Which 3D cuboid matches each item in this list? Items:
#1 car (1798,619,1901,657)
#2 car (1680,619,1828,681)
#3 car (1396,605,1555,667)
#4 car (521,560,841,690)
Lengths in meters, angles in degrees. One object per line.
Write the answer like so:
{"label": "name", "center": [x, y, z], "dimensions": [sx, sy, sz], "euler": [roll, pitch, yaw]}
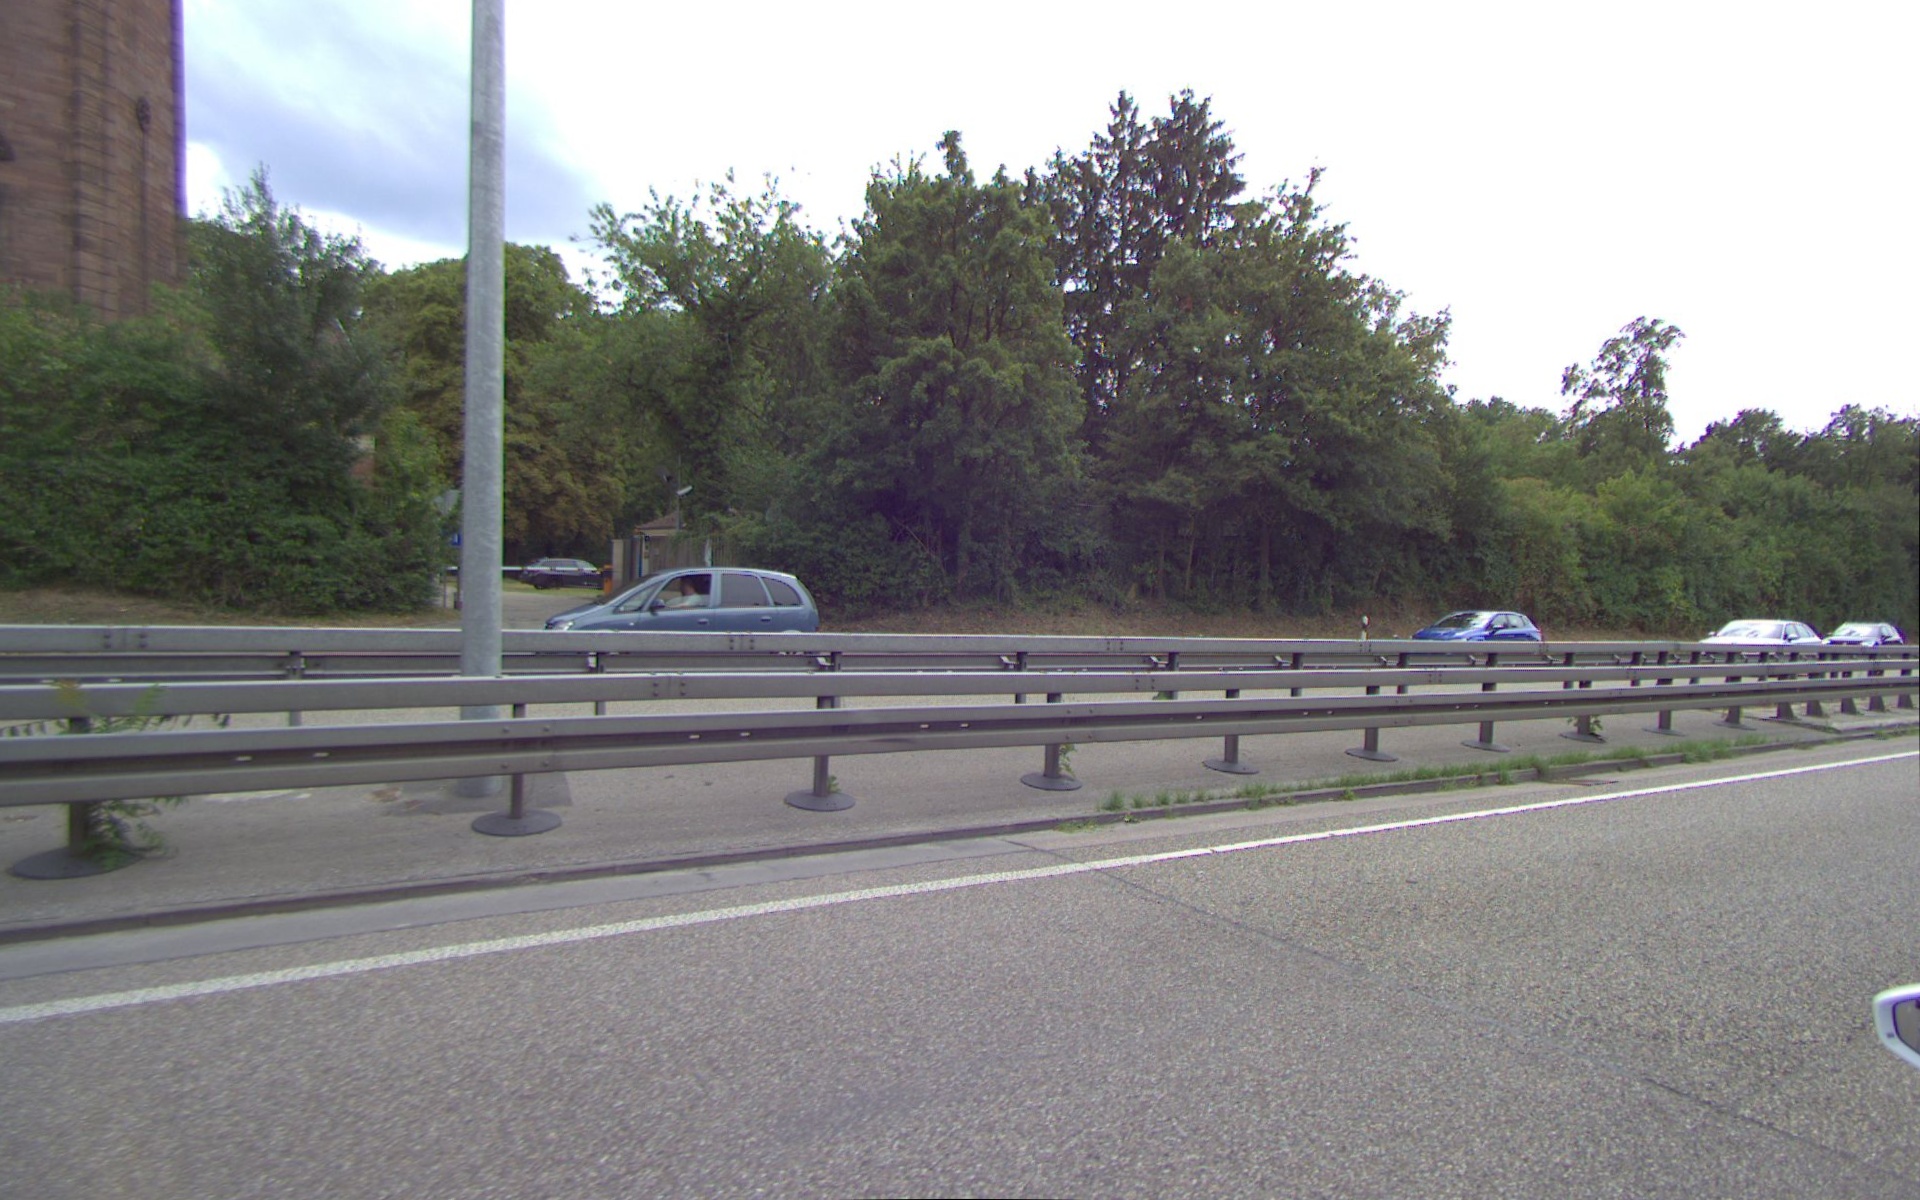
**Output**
{"label": "car", "center": [33.975, 1.441, 38.350], "dimensions": [4.025, 1.317, 1.966], "euler": [2, -1, -33]}
{"label": "car", "center": [20.395, 1.287, 25.773], "dimensions": [4.011, 1.446, 1.703], "euler": [2, -1, -32]}
{"label": "car", "center": [13.228, 0.936, 25.716], "dimensions": [4.011, 1.469, 1.802], "euler": [2, -1, -32]}
{"label": "car", "center": [-3.940, 0.382, 14.365], "dimensions": [4.085, 1.622, 1.722], "euler": [2, -1, -31]}
